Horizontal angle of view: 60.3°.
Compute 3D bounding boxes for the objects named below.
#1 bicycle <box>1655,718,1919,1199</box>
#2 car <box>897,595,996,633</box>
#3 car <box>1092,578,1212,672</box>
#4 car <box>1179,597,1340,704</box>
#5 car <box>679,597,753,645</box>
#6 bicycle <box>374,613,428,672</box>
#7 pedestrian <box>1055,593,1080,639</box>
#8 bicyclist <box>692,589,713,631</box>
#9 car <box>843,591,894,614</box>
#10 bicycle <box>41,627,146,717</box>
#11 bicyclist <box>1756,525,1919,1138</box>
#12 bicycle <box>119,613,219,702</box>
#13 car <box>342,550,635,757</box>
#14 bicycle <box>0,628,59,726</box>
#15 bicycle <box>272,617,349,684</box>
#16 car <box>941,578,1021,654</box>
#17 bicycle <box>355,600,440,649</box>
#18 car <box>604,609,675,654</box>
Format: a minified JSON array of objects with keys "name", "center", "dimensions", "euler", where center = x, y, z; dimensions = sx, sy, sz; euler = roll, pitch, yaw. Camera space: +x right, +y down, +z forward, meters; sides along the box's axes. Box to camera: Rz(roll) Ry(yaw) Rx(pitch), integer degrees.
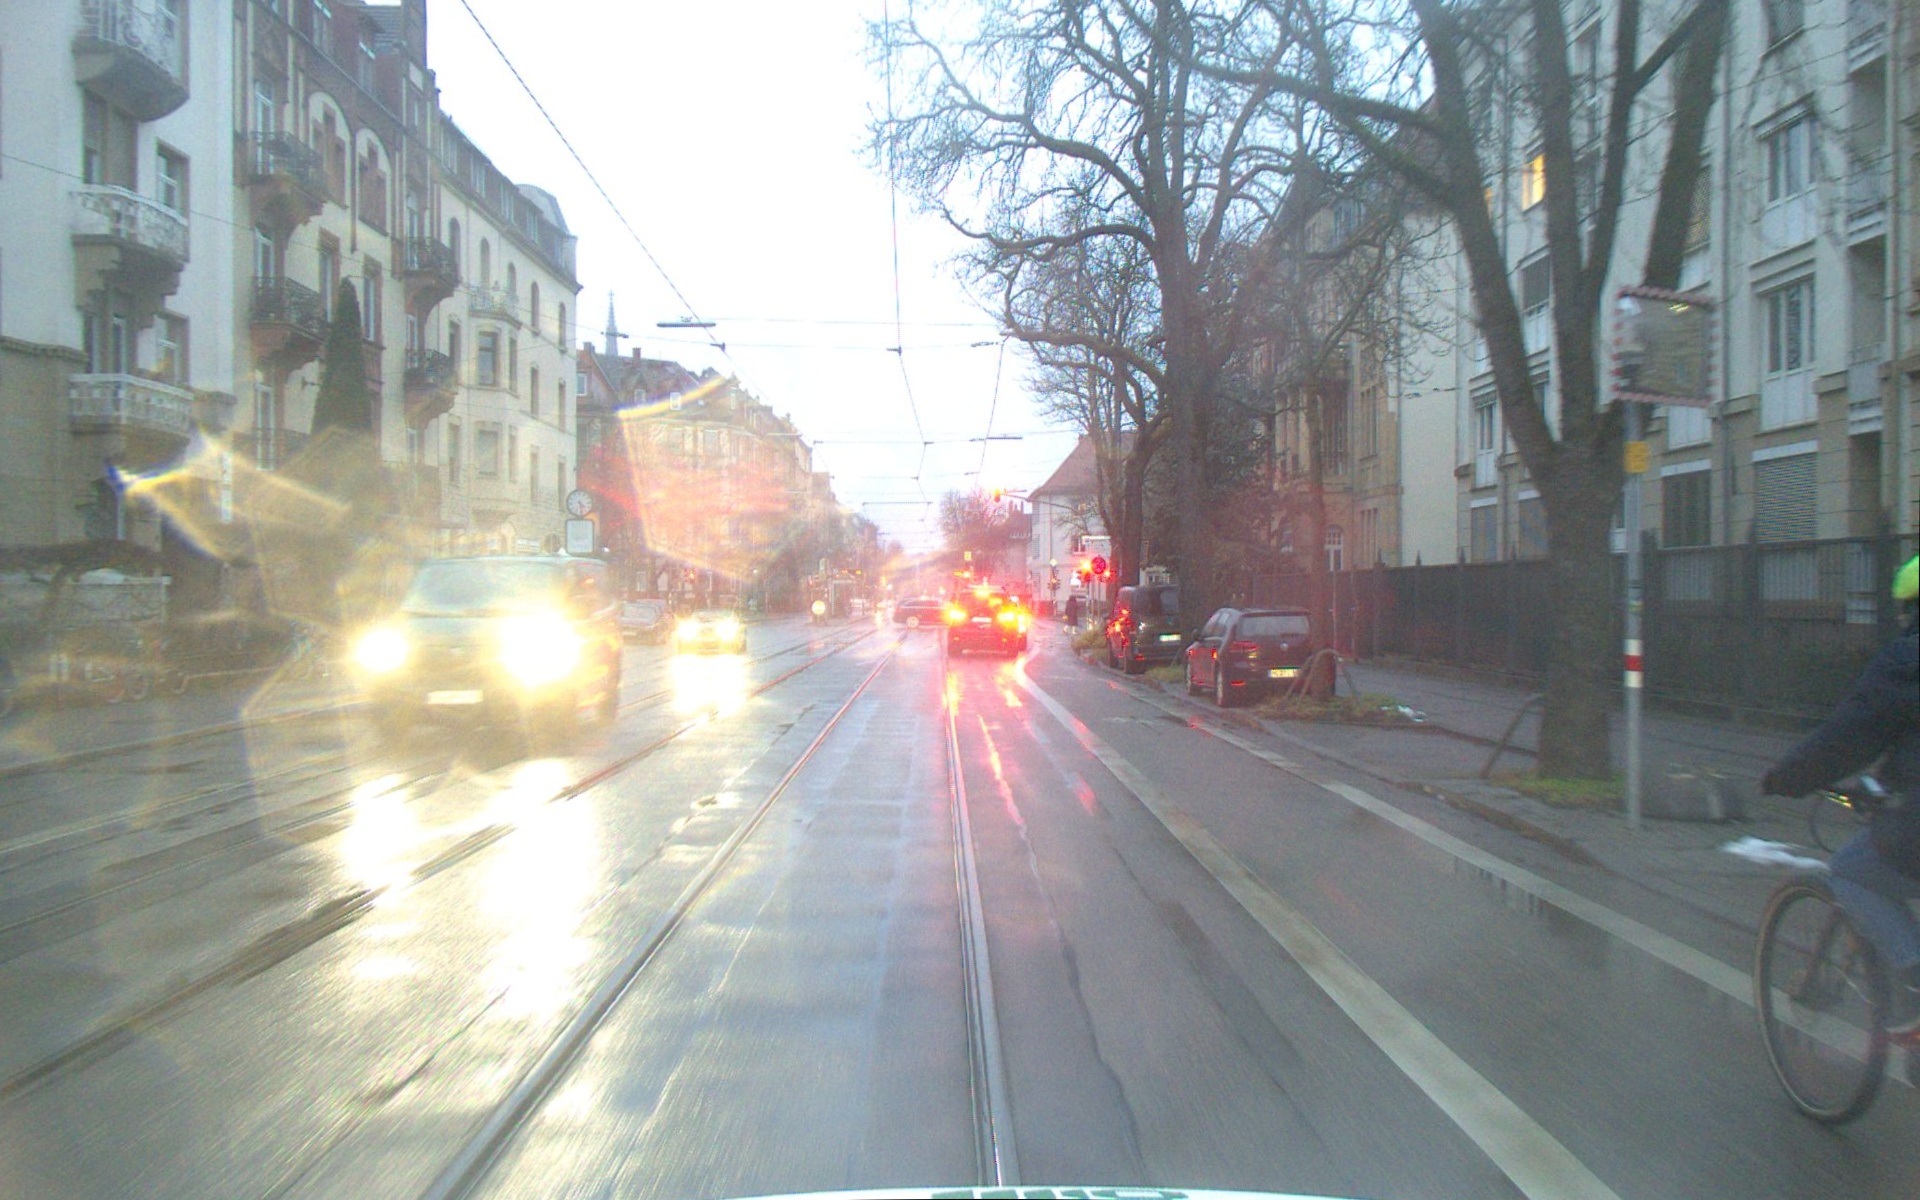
[{"name":"bicycle","center":[2.638,0.975,4.503],"dimensions":[0.692,1.116,2.030],"euler":[-1,1,2]},{"name":"car","center":[-0.642,0.669,81.981],"dimensions":[4.843,1.747,1.698],"euler":[-1,1,1]},{"name":"car","center":[4.237,0.488,37.266],"dimensions":[1.953,1.933,5.026],"euler":[-1,1,-2]},{"name":"car","center":[4.562,0.717,25.700],"dimensions":[1.643,1.485,4.041],"euler":[-1,0,-2]},{"name":"car","center":[-6.852,0.573,46.743],"dimensions":[1.627,1.219,3.873],"euler":[-1,1,-2]},{"name":"bicycle","center":[-11.184,0.841,33.158],"dimensions":[0.602,1.099,1.809],"euler":[-1,1,-5]},{"name":"pedestrian","center":[4.876,0.727,74.933],"dimensions":[1.002,2.049,0.918],"euler":[-1,1,-4]},{"name":"bicyclist","center":[-10.267,0.402,66.019],"dimensions":[0.702,1.630,0.930],"euler":[-1,1,-4]},{"name":"car","center":[-7.280,0.170,131.280],"dimensions":[3.914,1.747,1.899],"euler":[-1,1,-9]},{"name":"bicycle","center":[-10.759,0.872,20.587],"dimensions":[0.679,1.049,1.592],"euler":[-1,0,-10]},{"name":"bicyclist","center":[2.628,0.543,4.375],"dimensions":[0.642,1.471,0.850],"euler":[-1,1,2]},{"name":"bicycle","center":[-10.735,0.756,22.510],"dimensions":[0.476,1.118,1.930],"euler":[-2,0,-2]},{"name":"car","center":[-5.026,0.468,18.453],"dimensions":[2.005,1.955,5.097],"euler":[-1,1,-3]},{"name":"bicycle","center":[-10.788,0.853,18.571],"dimensions":[0.679,1.049,1.592],"euler":[-1,-1,-10]},{"name":"bicycle","center":[-10.803,0.822,27.562],"dimensions":[0.613,1.035,1.805],"euler":[-2,1,-2]},{"name":"car","center":[0.513,0.437,44.803],"dimensions":[1.953,1.930,4.757],"euler":[1,-1,-2]},{"name":"bicycle","center":[-13.171,0.575,38.731],"dimensions":[1.771,1.099,0.615],"euler":[-1,1,-8]},{"name":"car","center":[-11.589,1.118,60.046],"dimensions":[1.796,1.472,4.000],"euler":[-1,1,-1]}]
